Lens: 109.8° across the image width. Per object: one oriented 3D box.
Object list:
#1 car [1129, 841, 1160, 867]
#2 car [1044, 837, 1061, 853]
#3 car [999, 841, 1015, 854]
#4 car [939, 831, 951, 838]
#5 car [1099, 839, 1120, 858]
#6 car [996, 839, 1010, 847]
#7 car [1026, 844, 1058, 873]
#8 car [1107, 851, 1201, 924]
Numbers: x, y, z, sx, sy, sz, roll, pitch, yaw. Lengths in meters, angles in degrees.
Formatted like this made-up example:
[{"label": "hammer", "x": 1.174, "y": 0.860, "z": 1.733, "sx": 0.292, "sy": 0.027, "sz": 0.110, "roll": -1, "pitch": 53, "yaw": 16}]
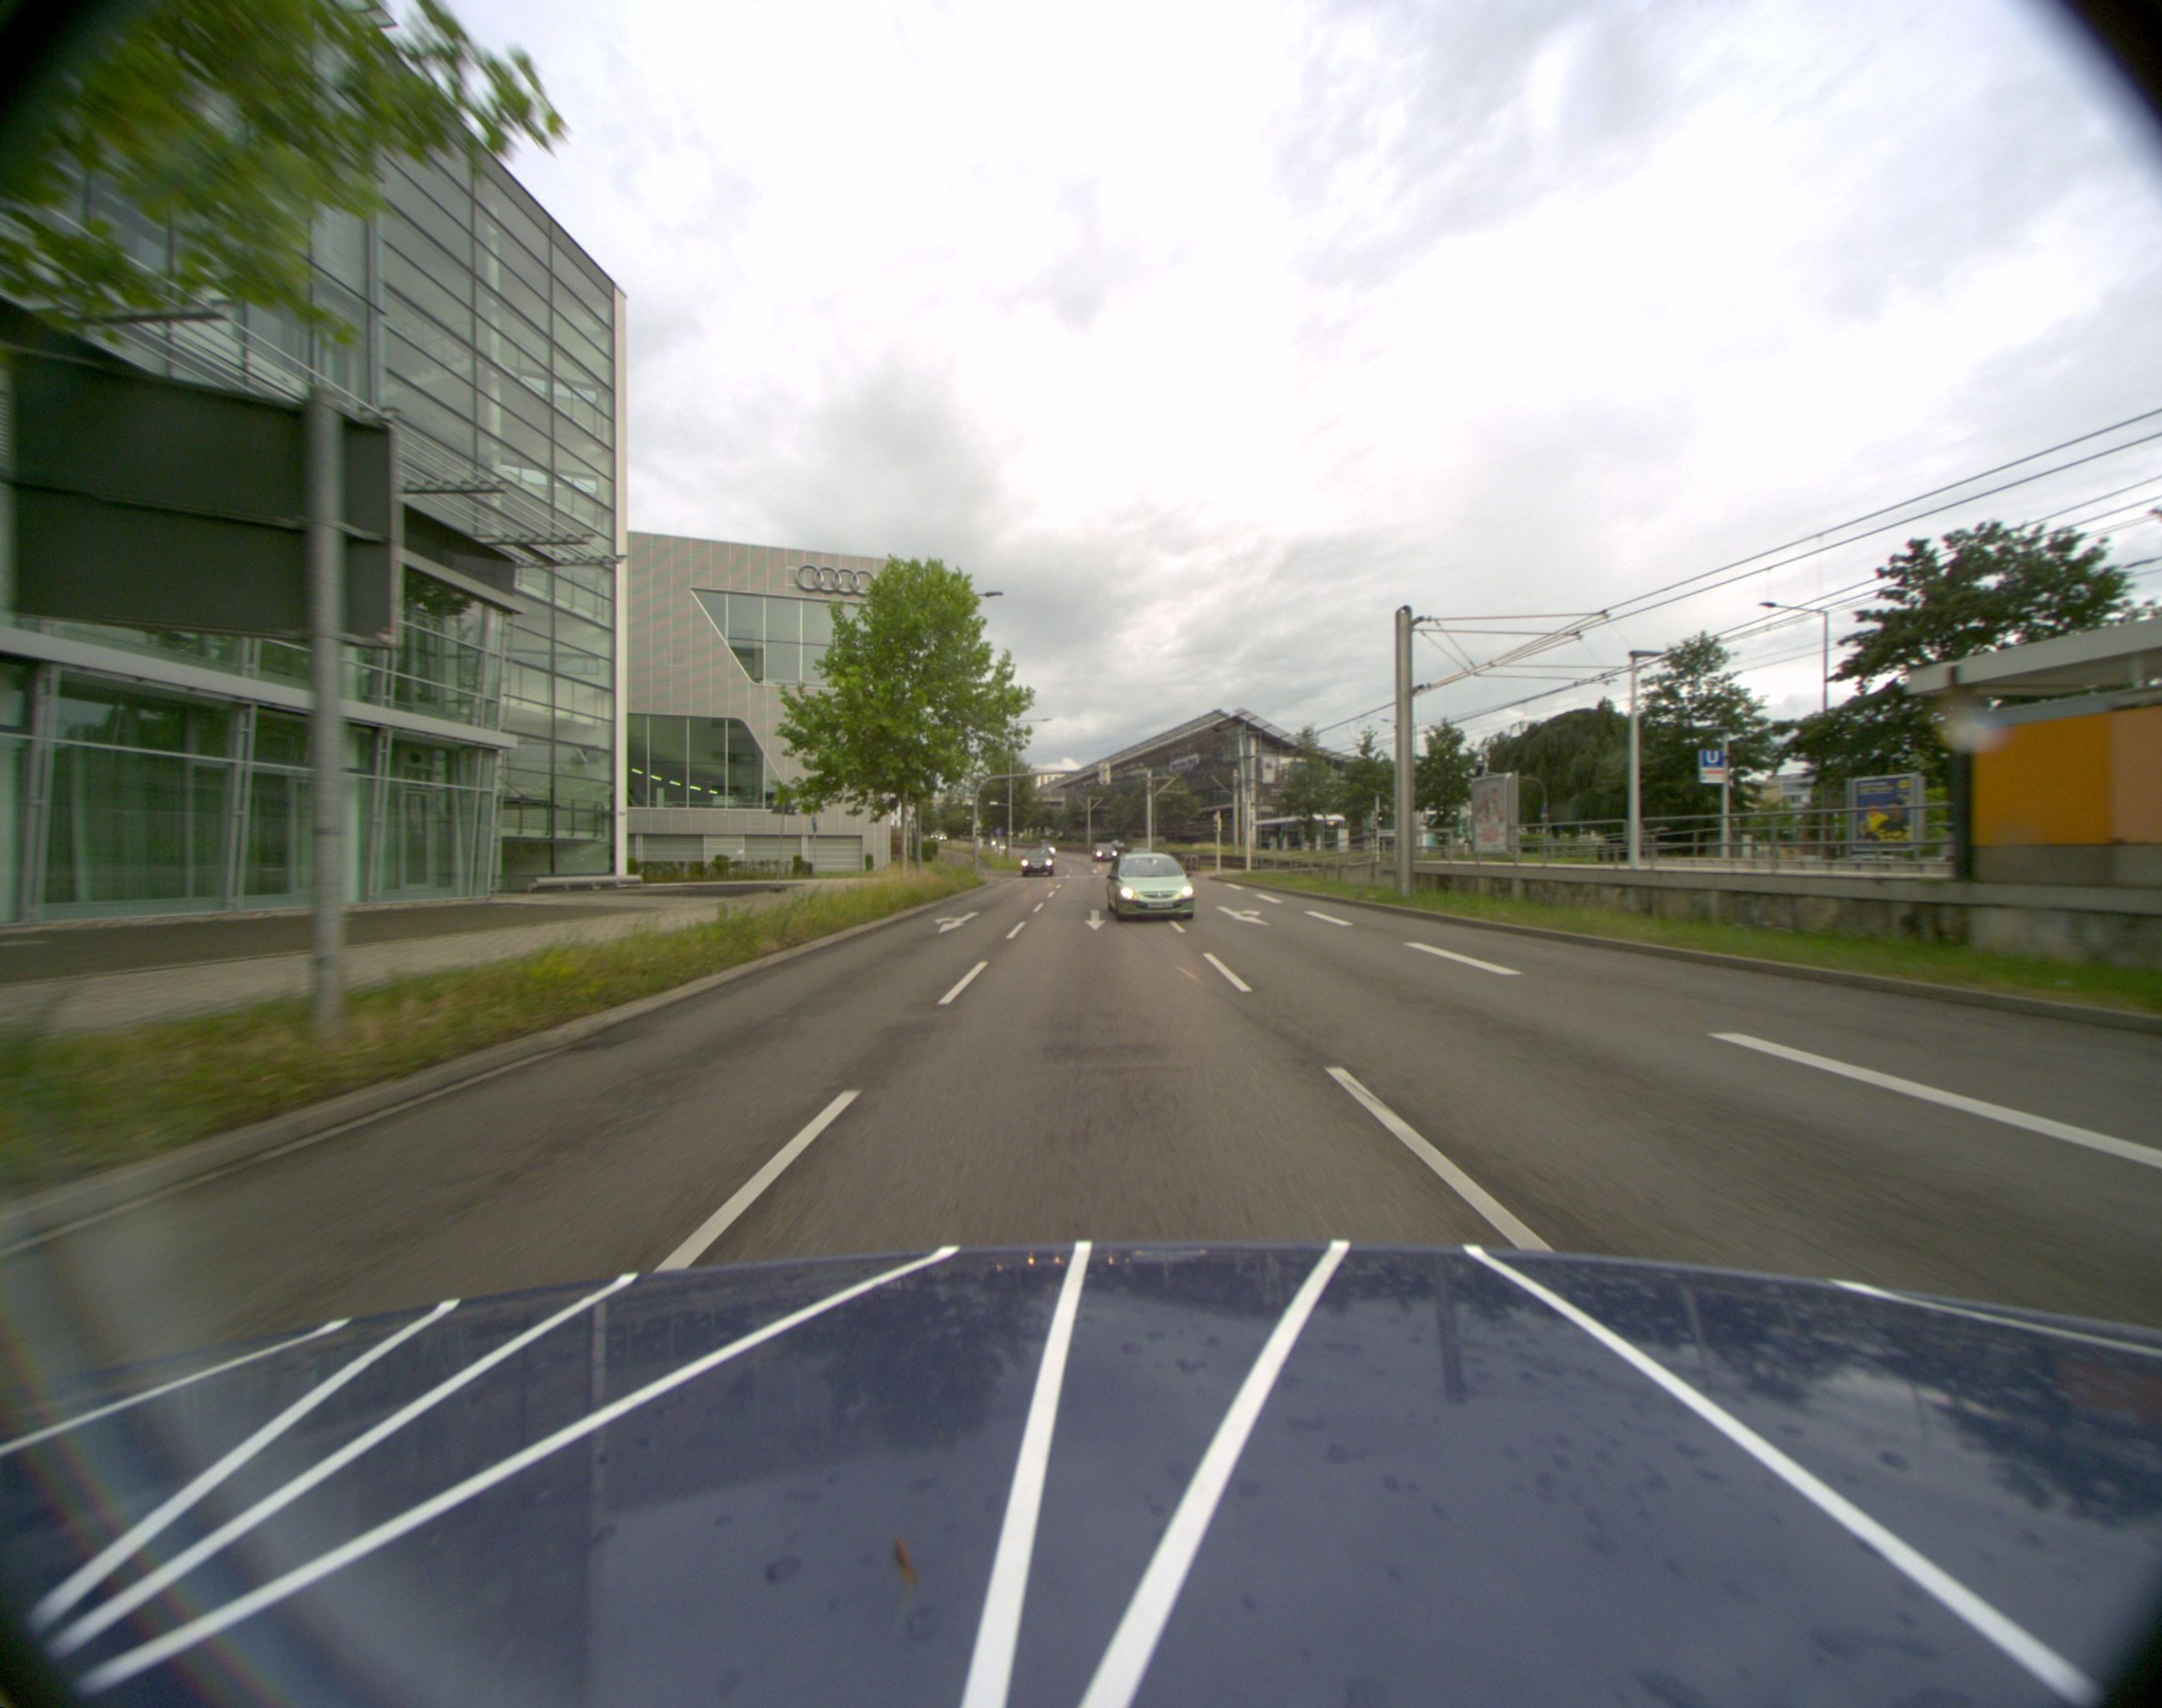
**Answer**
[{"label": "car", "x": 4.062, "y": -0.029, "z": 48.901, "sx": 1.697, "sy": 1.514, "sz": 3.904, "roll": -2, "pitch": 1, "yaw": 1}, {"label": "car", "x": -3.385, "y": -1.101, "z": 90.785, "sx": 1.806, "sy": 1.713, "sz": 3.997, "roll": -2, "pitch": 2, "yaw": -4}, {"label": "car", "x": -10.396, "y": -0.959, "z": 107.301, "sx": 1.999, "sy": 1.669, "sz": 3.820, "roll": -5, "pitch": 1, "yaw": -4}, {"label": "car", "x": -37.119, "y": -5.422, "z": 207.768, "sx": 1.833, "sy": 1.701, "sz": 4.144, "roll": -3, "pitch": 1, "yaw": -31}, {"label": "car", "x": 2.604, "y": -0.494, "z": 69.013, "sx": 1.731, "sy": 1.583, "sz": 4.193, "roll": -2, "pitch": 1, "yaw": 3}, {"label": "car", "x": -15.010, "y": -2.141, "z": 146.159, "sx": 1.742, "sy": 1.469, "sz": 3.994, "roll": -2, "pitch": 0, "yaw": -18}, {"label": "car", "x": -2.308, "y": 0.254, "z": 45.996, "sx": 1.770, "sy": 1.620, "sz": 4.324, "roll": -2, "pitch": 0, "yaw": -1}, {"label": "car", "x": 1.608, "y": 0.690, "z": 18.182, "sx": 1.699, "sy": 1.460, "sz": 4.402, "roll": -2, "pitch": 1, "yaw": -1}]
